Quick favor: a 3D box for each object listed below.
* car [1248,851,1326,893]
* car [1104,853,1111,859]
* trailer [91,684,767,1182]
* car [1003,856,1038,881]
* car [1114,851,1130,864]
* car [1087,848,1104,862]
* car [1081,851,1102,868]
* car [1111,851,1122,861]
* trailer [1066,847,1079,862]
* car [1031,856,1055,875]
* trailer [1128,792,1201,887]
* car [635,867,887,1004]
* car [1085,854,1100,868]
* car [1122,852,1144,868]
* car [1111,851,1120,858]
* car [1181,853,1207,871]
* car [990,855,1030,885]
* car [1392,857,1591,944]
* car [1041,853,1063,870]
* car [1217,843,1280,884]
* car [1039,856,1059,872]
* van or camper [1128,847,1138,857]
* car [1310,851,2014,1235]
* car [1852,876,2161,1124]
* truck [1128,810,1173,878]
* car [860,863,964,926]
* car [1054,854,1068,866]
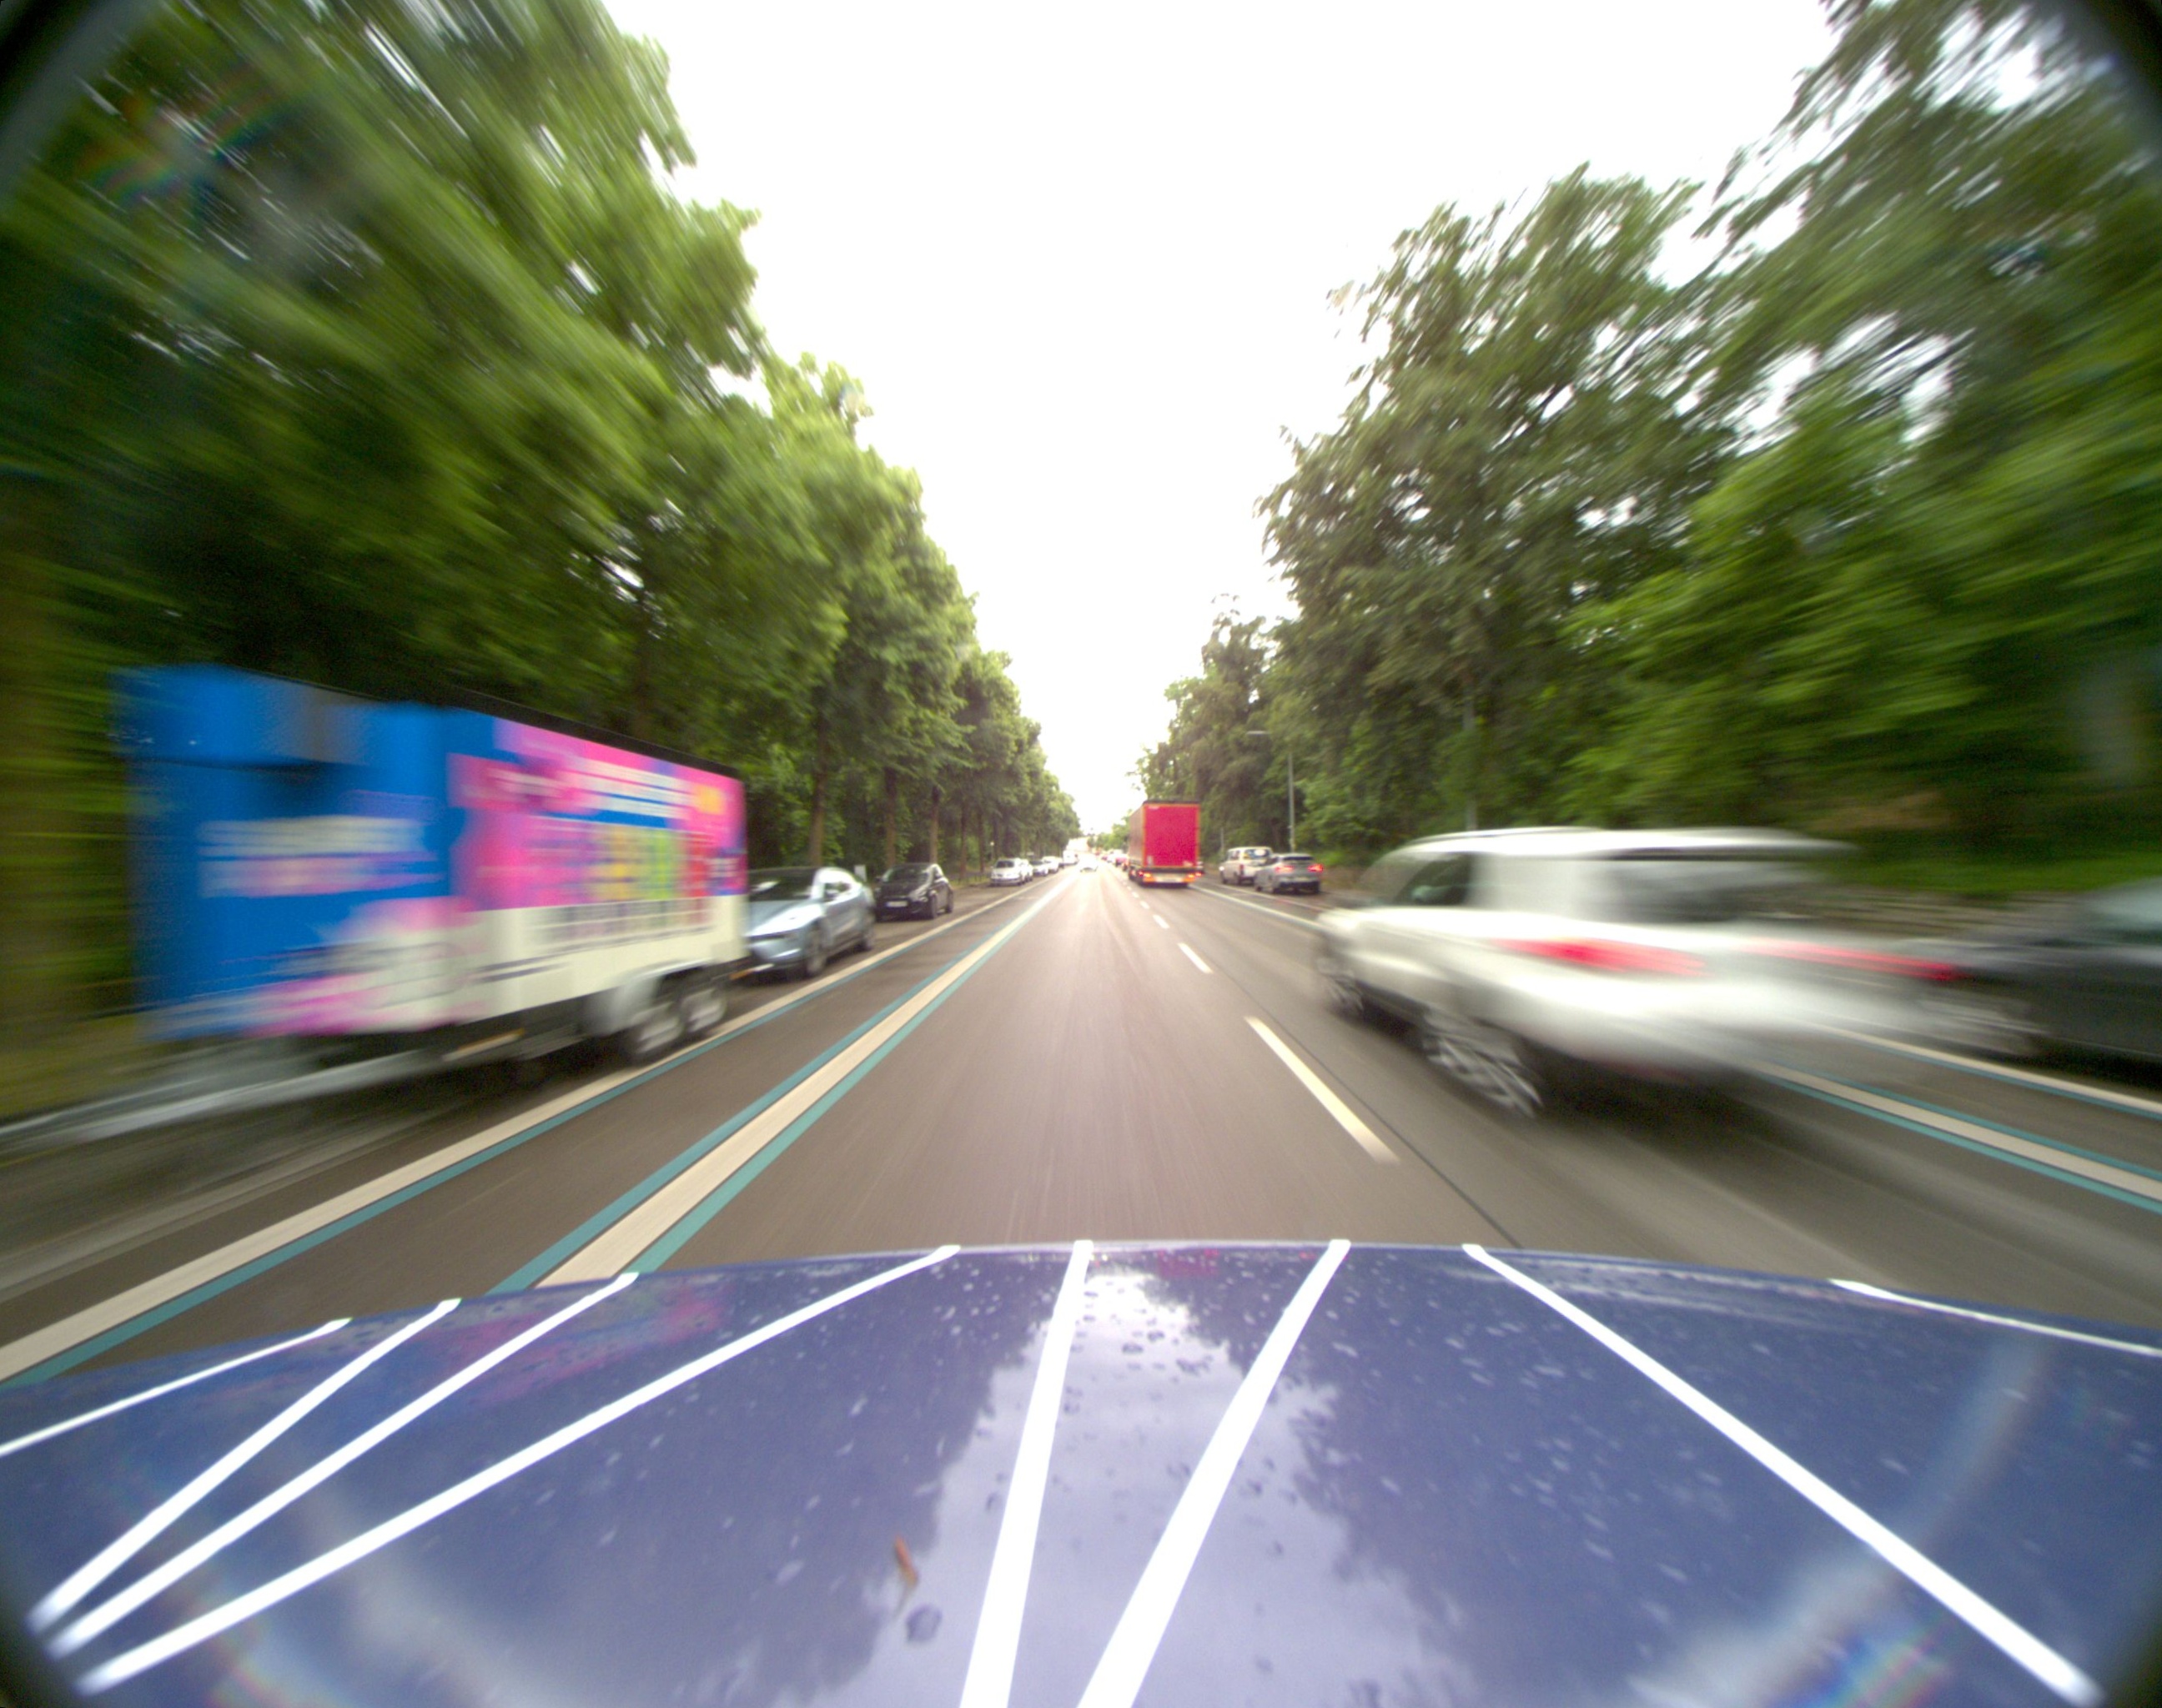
[{"bbox_3d":[8.496,0.719,31.816,2.015,1.596,4.779,-1,0,0],"label":"car"},{"bbox_3d":[7.753,0.526,223.777,2.043,1.639,4.478,-1,0,2],"label":"car"},{"bbox_3d":[-4.479,0.448,6.259,1.957,2.742,4.007,-2,0,1],"label":"trailer"},{"bbox_3d":[-3.952,0.913,50.355,1.702,1.504,4.470,-3,0,3],"label":"car"},{"bbox_3d":[5.423,0.442,101.770,1.966,1.608,4.466,1,0,1],"label":"car"},{"bbox_3d":[1.849,0.129,95.247,1.998,1.629,4.000,-1,1,2],"label":"car"},{"bbox_3d":[1.059,0.489,75.670,1.998,1.589,4.000,-2,0,2],"label":"car"},{"bbox_3d":[5.721,0.339,122.430,1.780,1.457,4.063,1,0,1],"label":"car"},{"bbox_3d":[-1.432,0.087,129.062,1.988,2.550,3.999,-2,0,-1],"label":"trailer"},{"bbox_3d":[-3.164,0.944,63.571,1.702,1.445,4.097,-3,0,0],"label":"car"},{"bbox_3d":[4.184,-0.682,40.783,2.694,4.234,12.769,1,0,1],"label":"trailer"},{"bbox_3d":[-4.556,1.041,11.754,1.904,1.538,4.754,-2,0,-1],"label":"car"},{"bbox_3d":[1.449,0.878,95.001,1.850,1.719,3.730,-1,0,1],"label":"car"},{"bbox_3d":[4.996,0.572,73.903,1.920,1.448,4.620,1,0,1],"label":"car"},{"bbox_3d":[7.960,0.136,173.736,1.958,1.629,4.445,0,0,1],"label":"car"},{"bbox_3d":[9.749,0.665,65.747,1.694,1.397,4.028,-2,0,2],"label":"car"},{"bbox_3d":[-4.062,0.903,44.318,1.757,1.587,4.740,-2,0,1],"label":"car"},{"bbox_3d":[7.920,0.818,15.142,1.794,1.473,3.982,-1,0,-1],"label":"car"},{"bbox_3d":[-3.049,0.742,80.529,1.998,1.652,4.562,-2,0,1],"label":"car"},{"bbox_3d":[8.940,0.479,40.963,1.979,1.993,5.017,-2,0,-3],"label":"car"},{"bbox_3d":[-3.089,0.926,73.711,1.702,1.445,3.946,-3,0,1],"label":"car"},{"bbox_3d":[12.721,-0.534,184.888,2.165,2.437,4.436,-1,0,1],"label":"van or camper"},{"bbox_3d":[3.173,0.821,5.430,1.838,1.657,4.180,1,0,1],"label":"car"},{"bbox_3d":[7.657,0.934,4.593,1.836,1.468,4.040,-1,0,-2],"label":"car"},{"bbox_3d":[4.354,-0.616,48.344,2.523,4.023,4.916,1,1,2],"label":"truck"},{"bbox_3d":[-4.656,1.053,21.612,1.830,1.494,4.571,-1,0,1],"label":"car"},{"bbox_3d":[-2.598,0.757,100.144,1.700,1.468,3.997,-1,0,0],"label":"car"}]
